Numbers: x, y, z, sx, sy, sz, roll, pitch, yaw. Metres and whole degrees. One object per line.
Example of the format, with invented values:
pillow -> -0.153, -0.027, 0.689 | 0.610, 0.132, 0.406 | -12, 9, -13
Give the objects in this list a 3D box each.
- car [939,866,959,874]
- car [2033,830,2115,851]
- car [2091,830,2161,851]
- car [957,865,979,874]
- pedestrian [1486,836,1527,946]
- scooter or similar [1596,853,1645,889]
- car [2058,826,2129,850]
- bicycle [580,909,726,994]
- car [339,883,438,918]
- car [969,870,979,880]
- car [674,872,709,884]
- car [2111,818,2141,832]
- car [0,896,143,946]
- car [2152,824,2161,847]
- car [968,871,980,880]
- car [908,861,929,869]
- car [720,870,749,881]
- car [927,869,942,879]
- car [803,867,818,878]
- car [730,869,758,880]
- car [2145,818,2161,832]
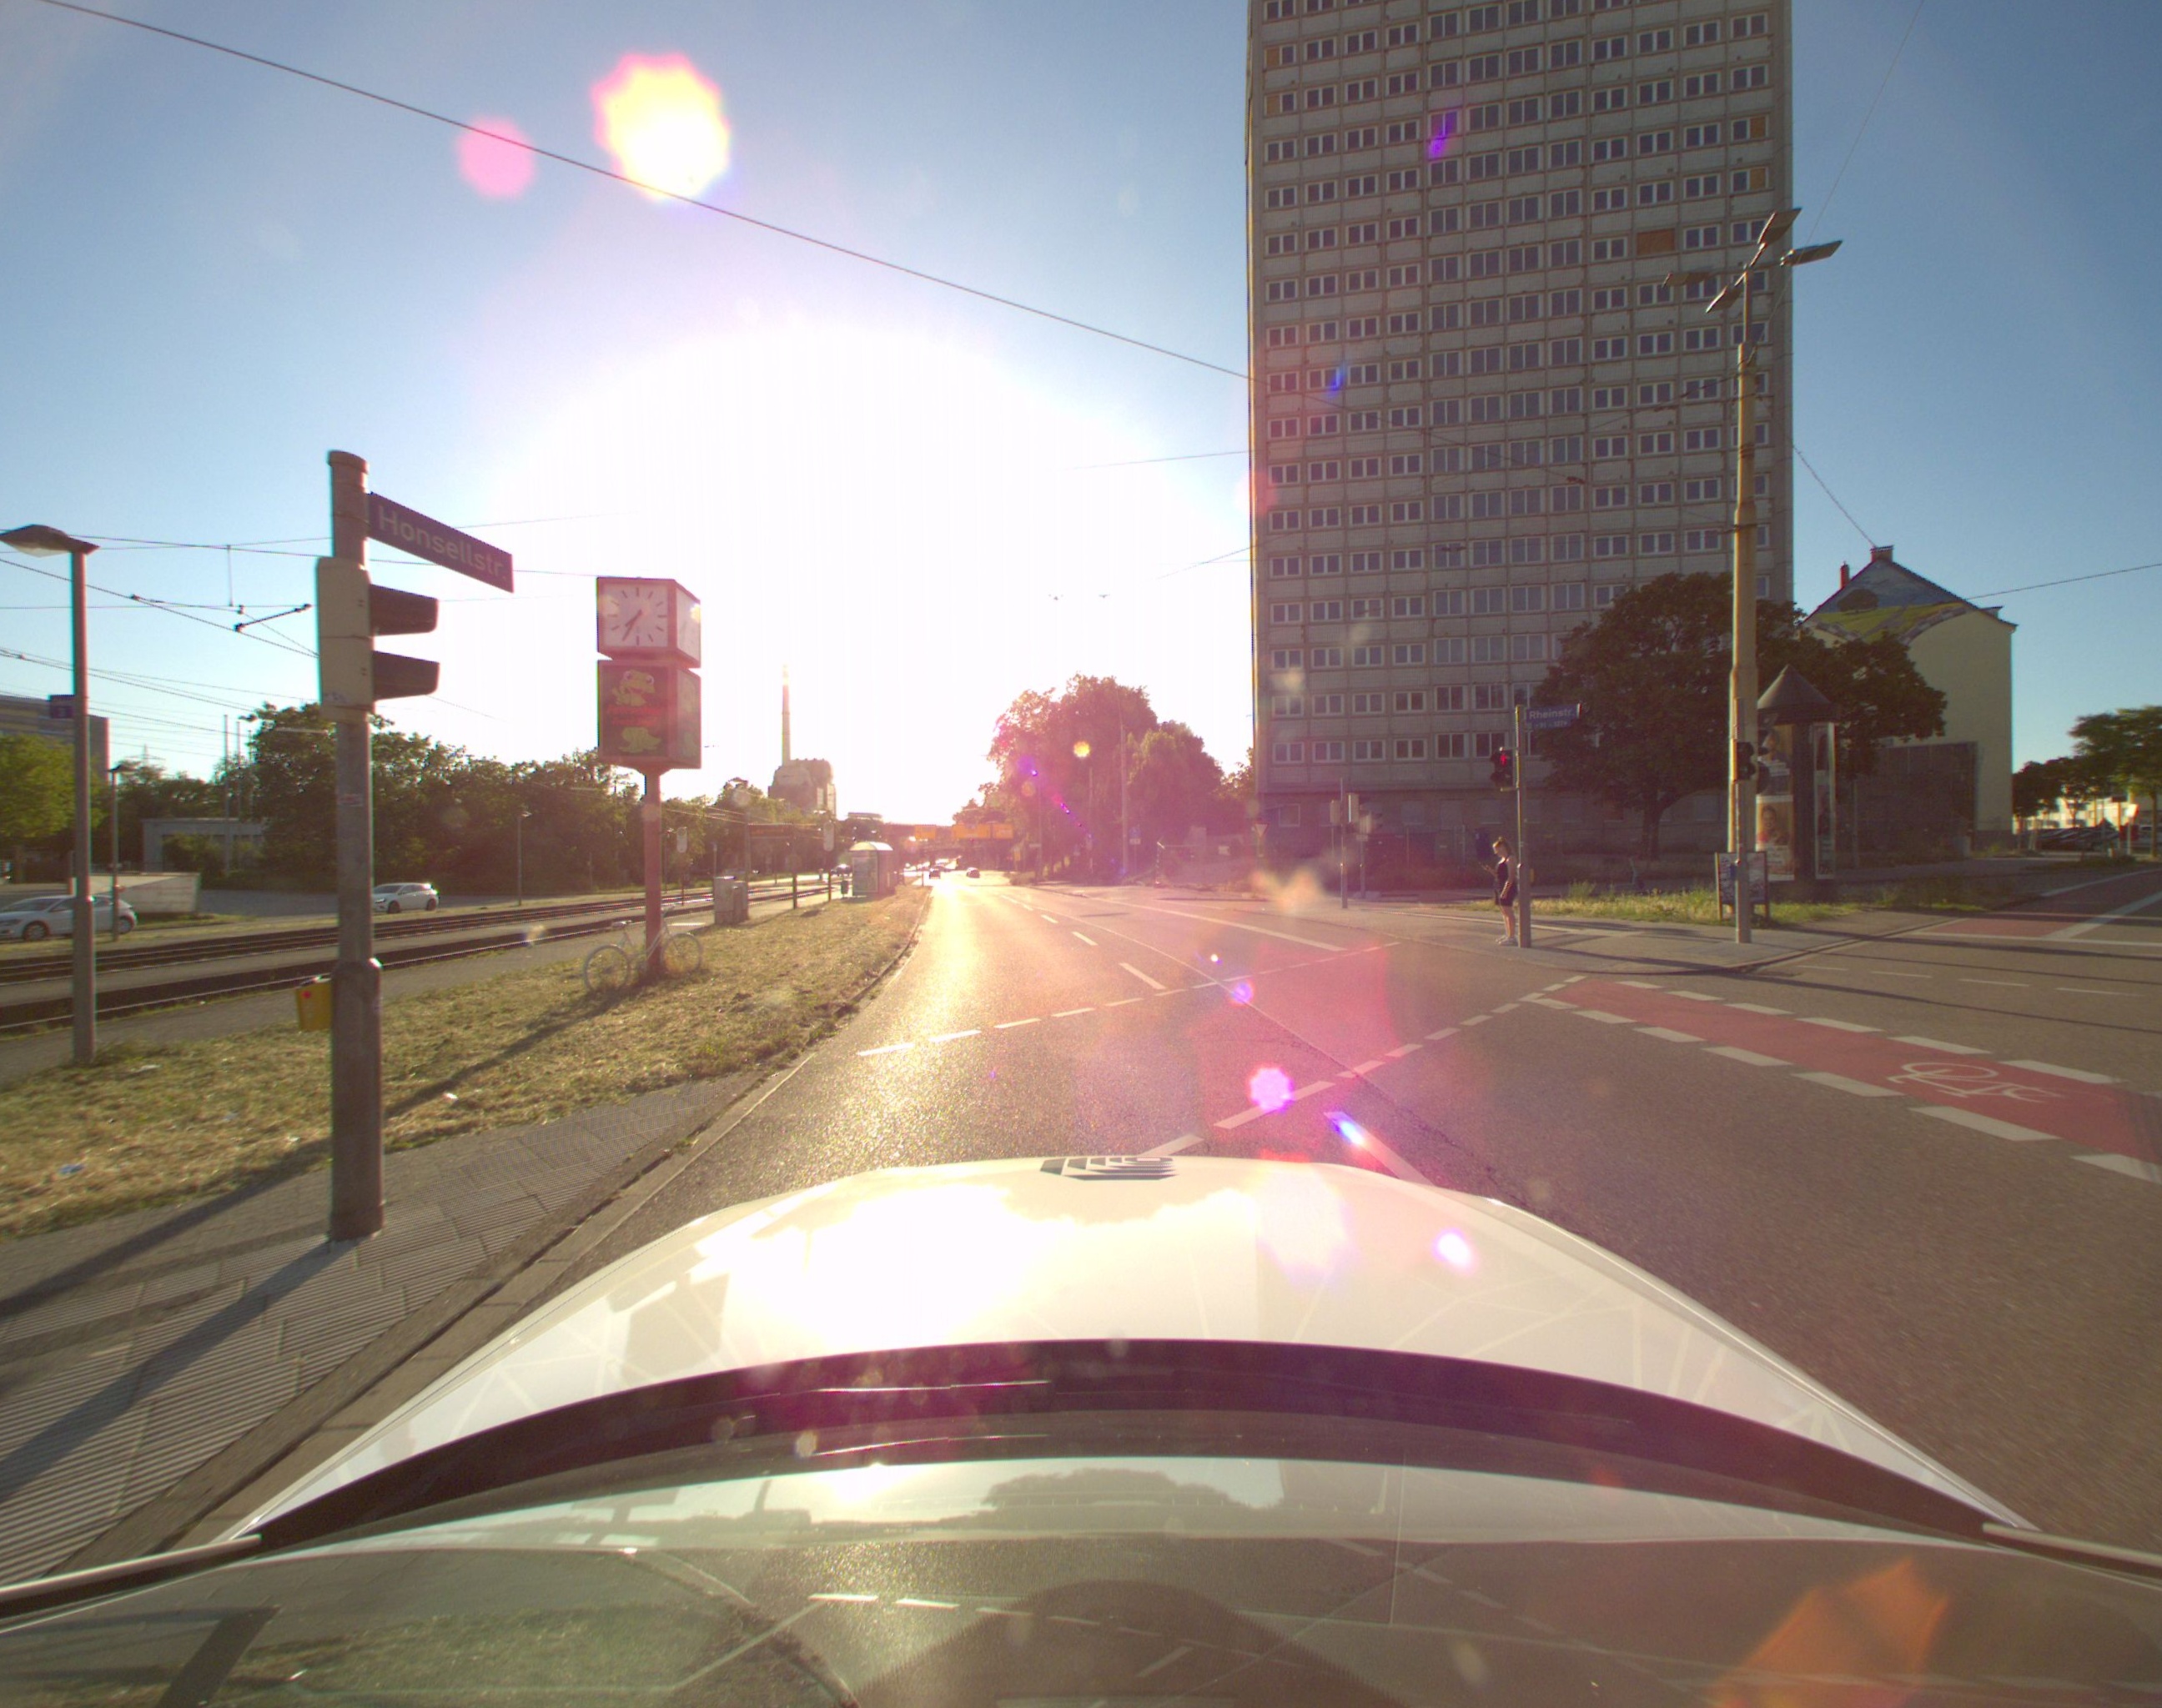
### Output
car -> -27.075, 3.252, 167.519 | 3.986, 1.446, 1.768 | -2, -1, -10
car -> 72.976, -0.983, 59.925 | 3.513, 1.350, 1.718 | -2, -1, 41
car -> 68.925, -0.864, 53.052 | 3.665, 1.301, 1.521 | -2, -1, 42
car -> -26.814, 3.599, 193.007 | 4.816, 2.013, 2.006 | 0, 0, 10
pedestrian -> 6.409, 0.544, 12.290 | 0.432, 1.612, 0.633 | -2, -1, 21
scooter or similar -> 17.792, 0.561, 26.872 | 1.288, 1.170, 0.328 | -2, 0, 12
car -> 71.192, -1.100, 57.333 | 1.274, 1.537, 2.994 | -1, -1, -43
bicycle -> -5.719, 1.277, 11.006 | 0.548, 0.918, 1.753 | -3, -1, 23
car -> -35.304, 2.323, 41.668 | 1.654, 1.532, 4.381 | -1, -1, -7
car -> -17.292, 3.391, 131.160 | 1.513, 1.387, 3.356 | -1, 1, -6
car -> -62.158, 3.824, 130.069 | 4.809, 1.843, 1.979 | -1, -1, -34
car -> 129.733, -3.560, 101.116 | 4.023, 1.543, 1.842 | -1, -1, -43
car -> -33.848, 2.156, 26.715 | 1.800, 1.367, 3.955 | -2, -1, -7
car -> 90.162, -1.586, 67.242 | 4.021, 1.904, 1.843 | -1, -1, -41
car -> -18.090, 3.696, 137.901 | 2.036, 1.446, 3.989 | -1, -1, -8
car -> -40.165, 2.734, 201.105 | 4.752, 2.013, 2.007 | 0, 0, 12
car -> -57.513, 3.603, 135.155 | 4.016, 1.750, 1.979 | -1, -1, -34
car -> -22.667, 3.111, 125.770 | 2.036, 1.446, 3.990 | -2, 0, -7
car -> -51.410, 3.509, 154.787 | 1.991, 2.014, 3.991 | -1, -1, -6
car -> -57.580, 3.562, 139.106 | 4.016, 1.750, 1.979 | -1, -1, -34
car -> 120.275, -3.240, 90.586 | 3.901, 1.543, 1.842 | -1, -1, -43
